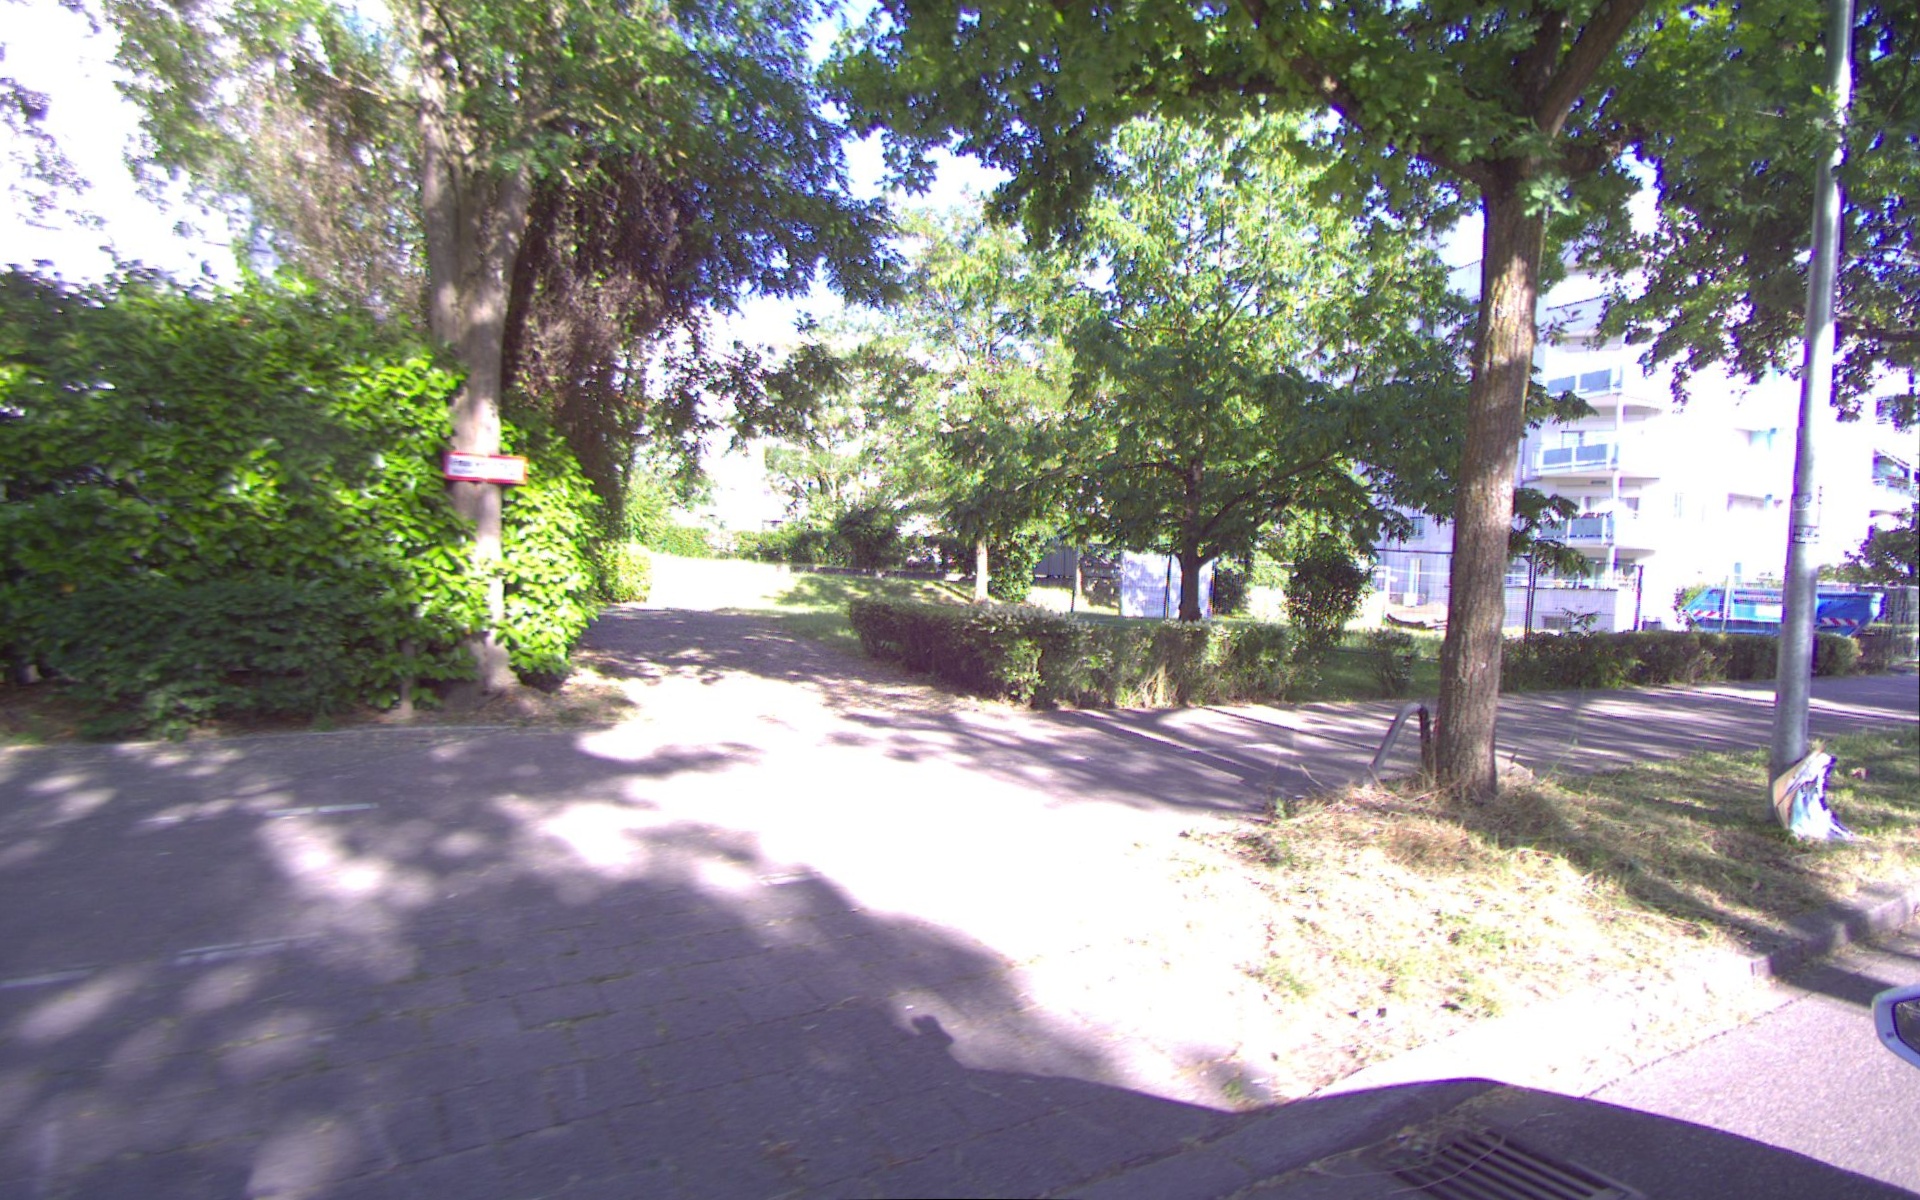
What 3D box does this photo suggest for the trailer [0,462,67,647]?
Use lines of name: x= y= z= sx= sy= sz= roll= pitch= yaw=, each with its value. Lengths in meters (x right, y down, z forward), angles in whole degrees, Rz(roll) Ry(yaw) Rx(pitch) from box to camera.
trailer: x=-13.030 y=-0.579 z=11.041 sx=4.368 sy=2.070 sz=1.971 roll=2 pitch=1 yaw=-24
